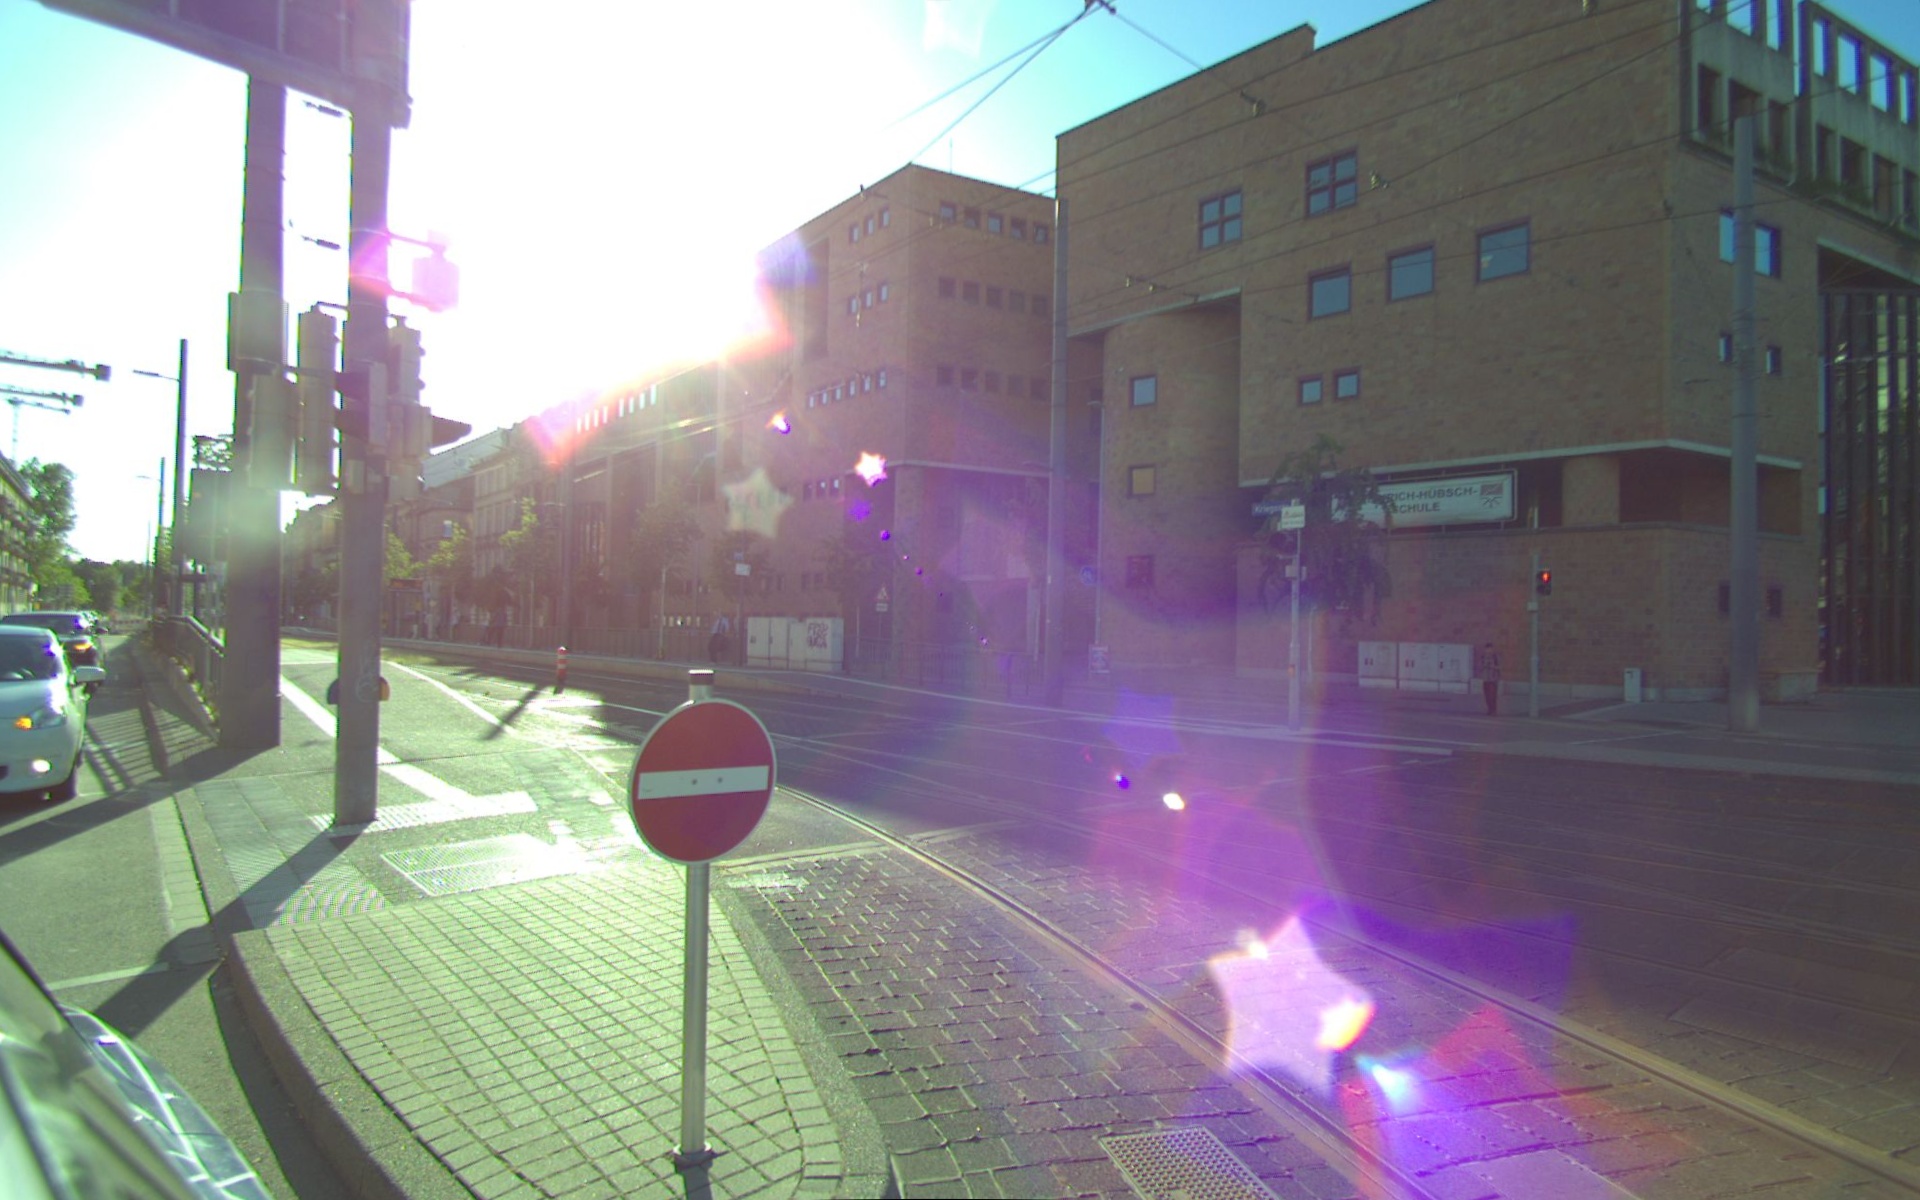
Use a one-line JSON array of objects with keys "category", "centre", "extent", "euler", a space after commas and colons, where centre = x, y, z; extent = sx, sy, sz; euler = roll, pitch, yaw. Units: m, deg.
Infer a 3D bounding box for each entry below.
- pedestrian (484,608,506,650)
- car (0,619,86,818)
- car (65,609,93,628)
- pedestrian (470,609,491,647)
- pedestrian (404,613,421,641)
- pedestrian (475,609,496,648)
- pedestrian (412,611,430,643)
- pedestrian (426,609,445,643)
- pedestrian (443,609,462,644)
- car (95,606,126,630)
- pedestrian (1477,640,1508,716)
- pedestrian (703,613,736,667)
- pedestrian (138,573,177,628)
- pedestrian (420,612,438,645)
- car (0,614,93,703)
[{"category": "pedestrian", "centre": [-19.432, 1.202, 42.290], "extent": [0.682, 1.755, 0.587], "euler": [2, -2, -43]}, {"category": "car", "centre": [-8.976, 0.936, 9.095], "extent": [1.615, 1.477, 4.193], "euler": [0, 0, -40]}, {"category": "car", "centre": [-78.290, 1.648, 89.941], "extent": [1.802, 1.666, 3.688], "euler": [2, -2, -40]}, {"category": "pedestrian", "centre": [-22.014, 1.281, 46.480], "extent": [0.682, 1.755, 0.587], "euler": [2, -2, -43]}, {"category": "pedestrian", "centre": [-30.935, 1.529, 57.138], "extent": [0.682, 1.587, 0.587], "euler": [2, -2, -43]}, {"category": "pedestrian", "centre": [-21.566, 1.292, 46.023], "extent": [0.682, 1.755, 0.587], "euler": [2, -2, -43]}, {"category": "pedestrian", "centre": [-29.244, 1.469, 54.929], "extent": [0.682, 1.755, 0.587], "euler": [2, -2, -43]}, {"category": "pedestrian", "centre": [-27.416, 1.345, 52.893], "extent": [0.682, 1.755, 0.587], "euler": [2, -2, -43]}, {"category": "pedestrian", "centre": [-25.503, 1.333, 50.867], "extent": [0.682, 1.755, 0.587], "euler": [2, -2, -43]}, {"category": "car", "centre": [-71.745, 1.548, 85.494], "extent": [1.968, 1.985, 4.007], "euler": [2, -2, -40]}, {"category": "pedestrian", "centre": [11.671, 1.697, 22.171], "extent": [0.504, 1.629, 0.503], "euler": [0, -1, 40]}, {"category": "pedestrian", "centre": [-7.056, 1.166, 29.676], "extent": [0.691, 1.546, 0.655], "euler": [2, -2, -43]}, {"category": "pedestrian", "centre": [-29.949, 0.038, 37.771], "extent": [0.781, 2.029, 0.871], "euler": [0, -2, 30]}, {"category": "pedestrian", "centre": [-28.291, 1.535, 53.910], "extent": [0.682, 1.755, 0.587], "euler": [2, -2, -43]}, {"category": "car", "centre": [-19.707, 1.158, 21.453], "extent": [1.925, 1.674, 4.363], "euler": [0, 0, -40]}]
